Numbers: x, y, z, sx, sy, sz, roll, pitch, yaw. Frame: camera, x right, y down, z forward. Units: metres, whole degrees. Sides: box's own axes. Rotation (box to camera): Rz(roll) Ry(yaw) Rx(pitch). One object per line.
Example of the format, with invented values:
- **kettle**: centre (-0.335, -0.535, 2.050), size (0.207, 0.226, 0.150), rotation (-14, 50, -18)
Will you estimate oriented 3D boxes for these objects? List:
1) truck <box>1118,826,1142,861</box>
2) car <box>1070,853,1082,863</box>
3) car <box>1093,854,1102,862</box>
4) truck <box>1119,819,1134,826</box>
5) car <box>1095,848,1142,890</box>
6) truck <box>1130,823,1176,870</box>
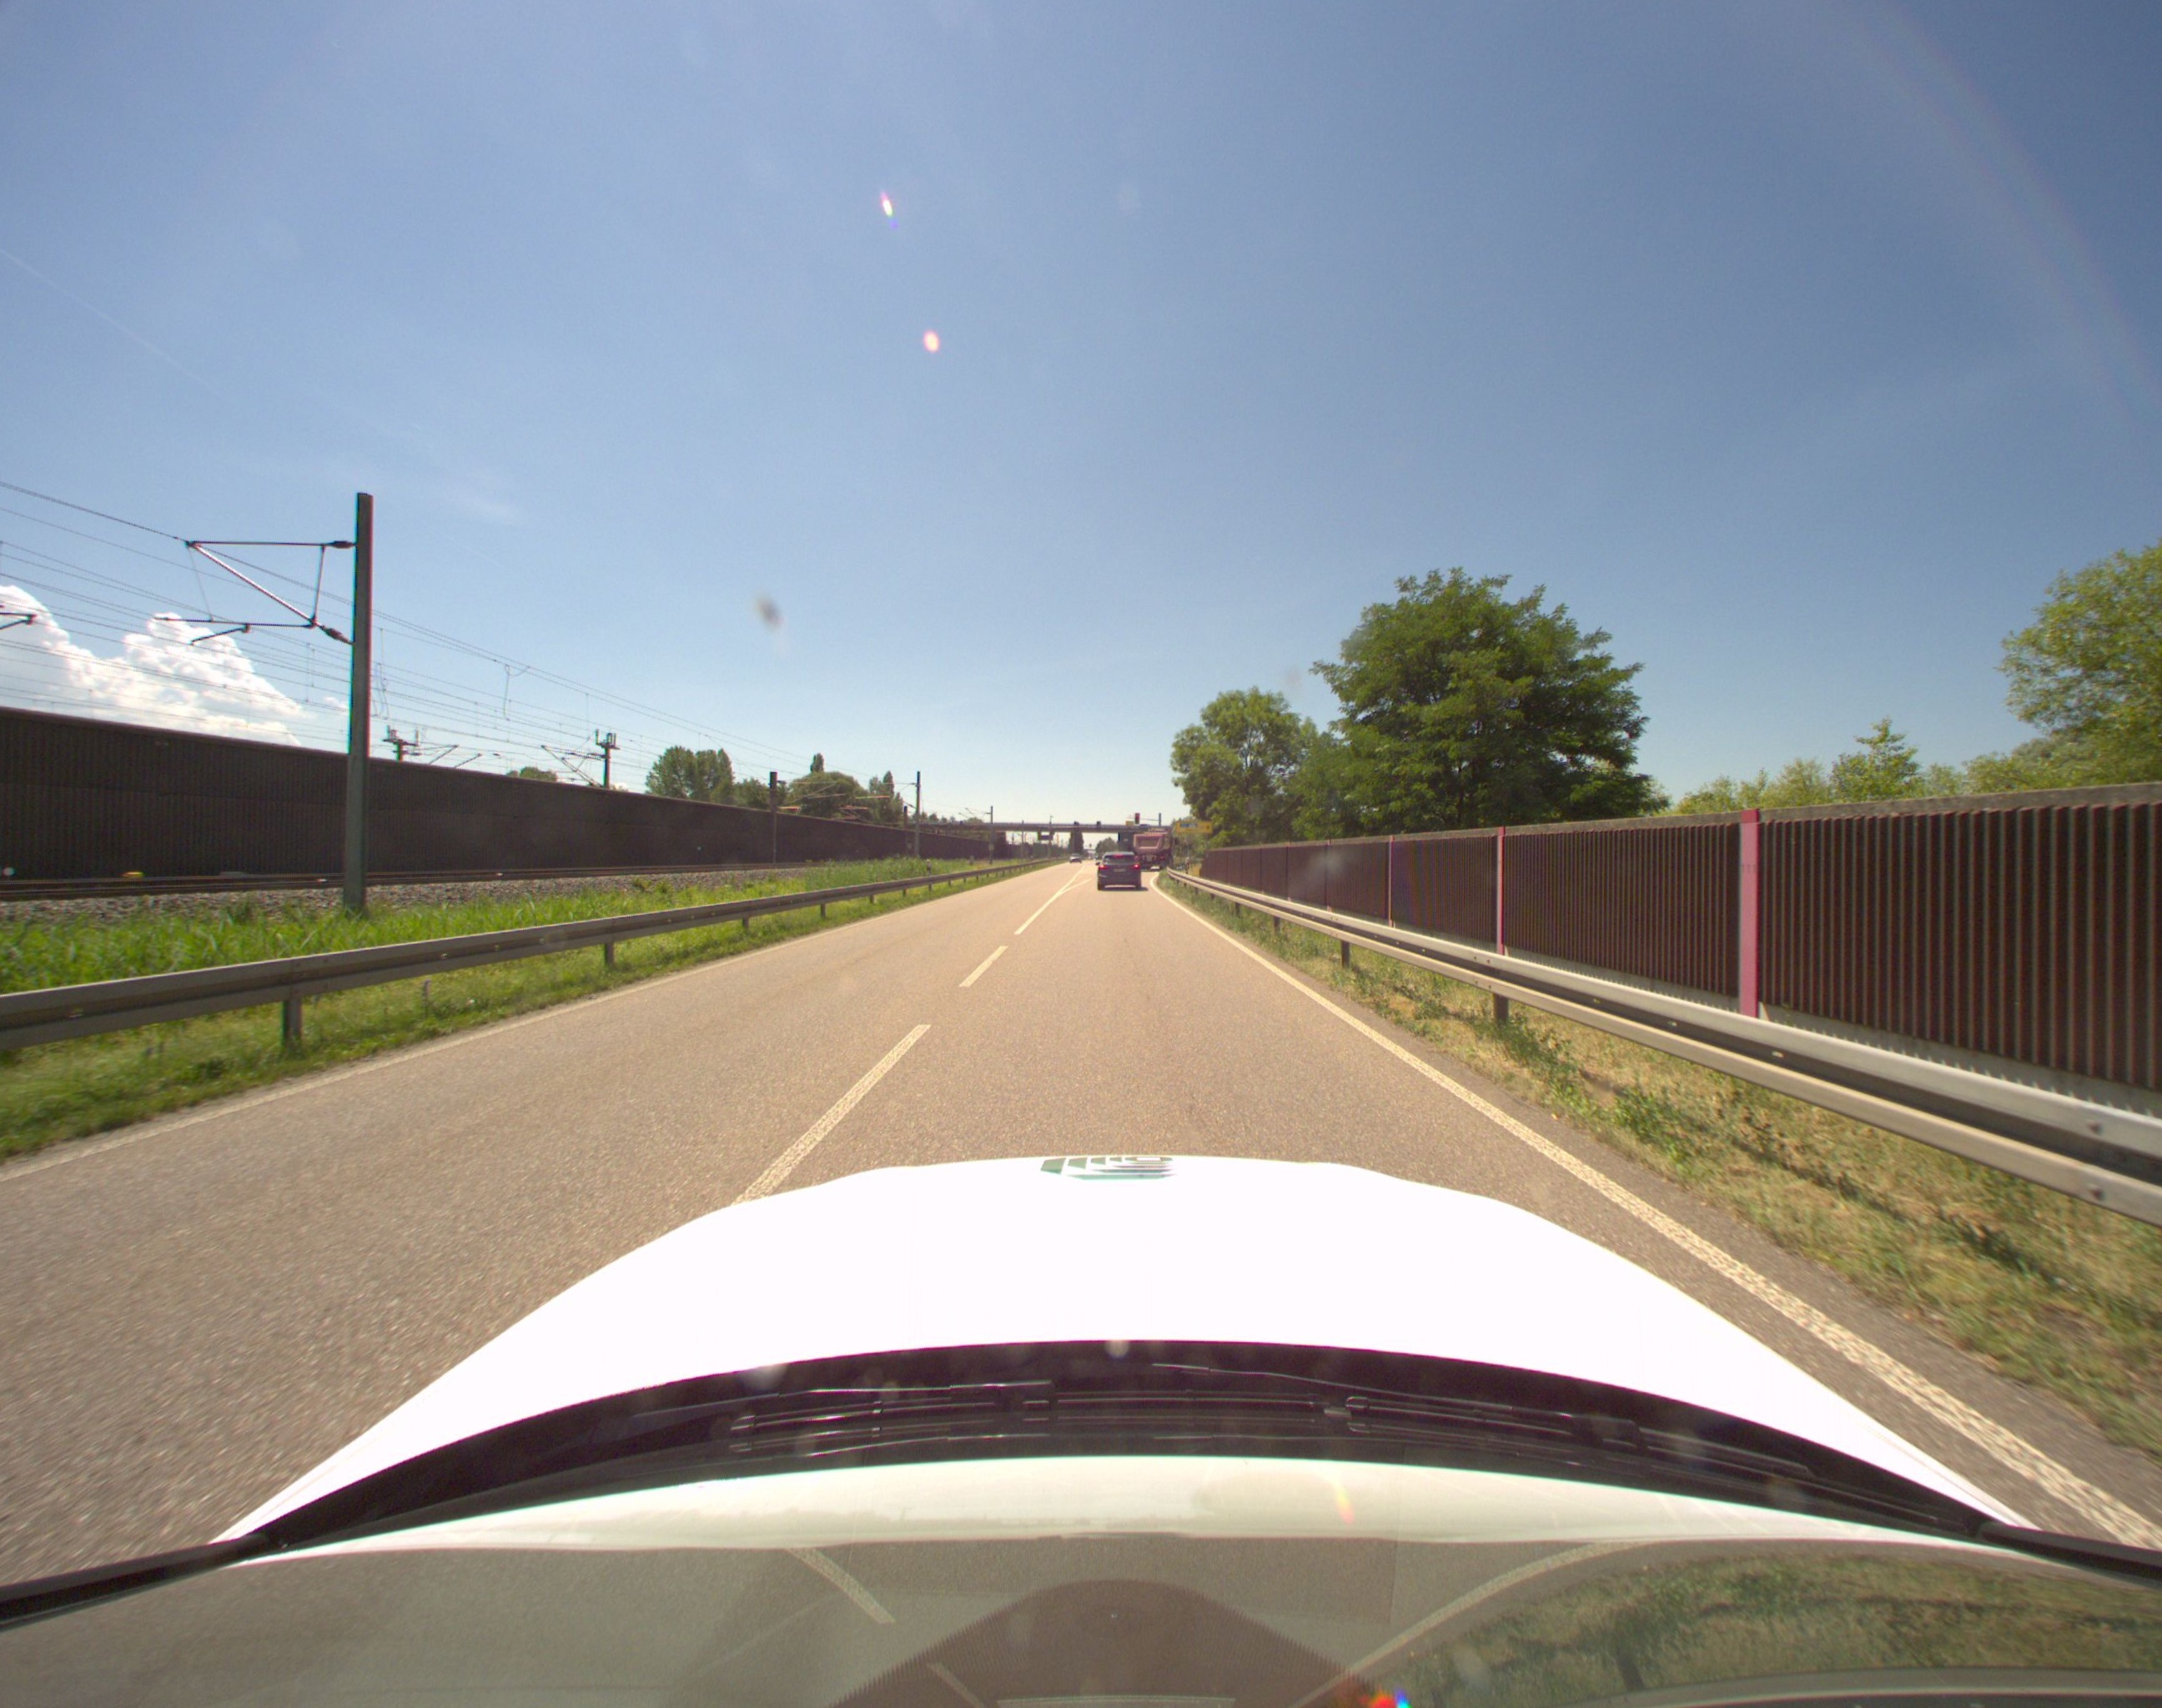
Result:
- **truck**: centre (5.485, -1.117, 92.070), size (2.579, 3.737, 9.582), rotation (0, 0, 3)
- **car**: centre (-0.725, 0.652, 126.480), size (1.859, 1.485, 4.886), rotation (0, 0, 0)
- **car**: centre (4.099, 1.011, 197.462), size (1.919, 1.767, 4.602), rotation (1, 1, 4)
- **truck**: centre (13.025, -9.026, 231.821), size (3.965, 2.013, 2.004), rotation (0, 0, 7)
- **car**: centre (1.612, 0.596, 34.369), size (1.837, 1.623, 4.229), rotation (0, 0, 3)
- **truck**: centre (6.581, -0.595, 72.905), size (2.815, 3.821, 11.921), rotation (0, 0, 11)
